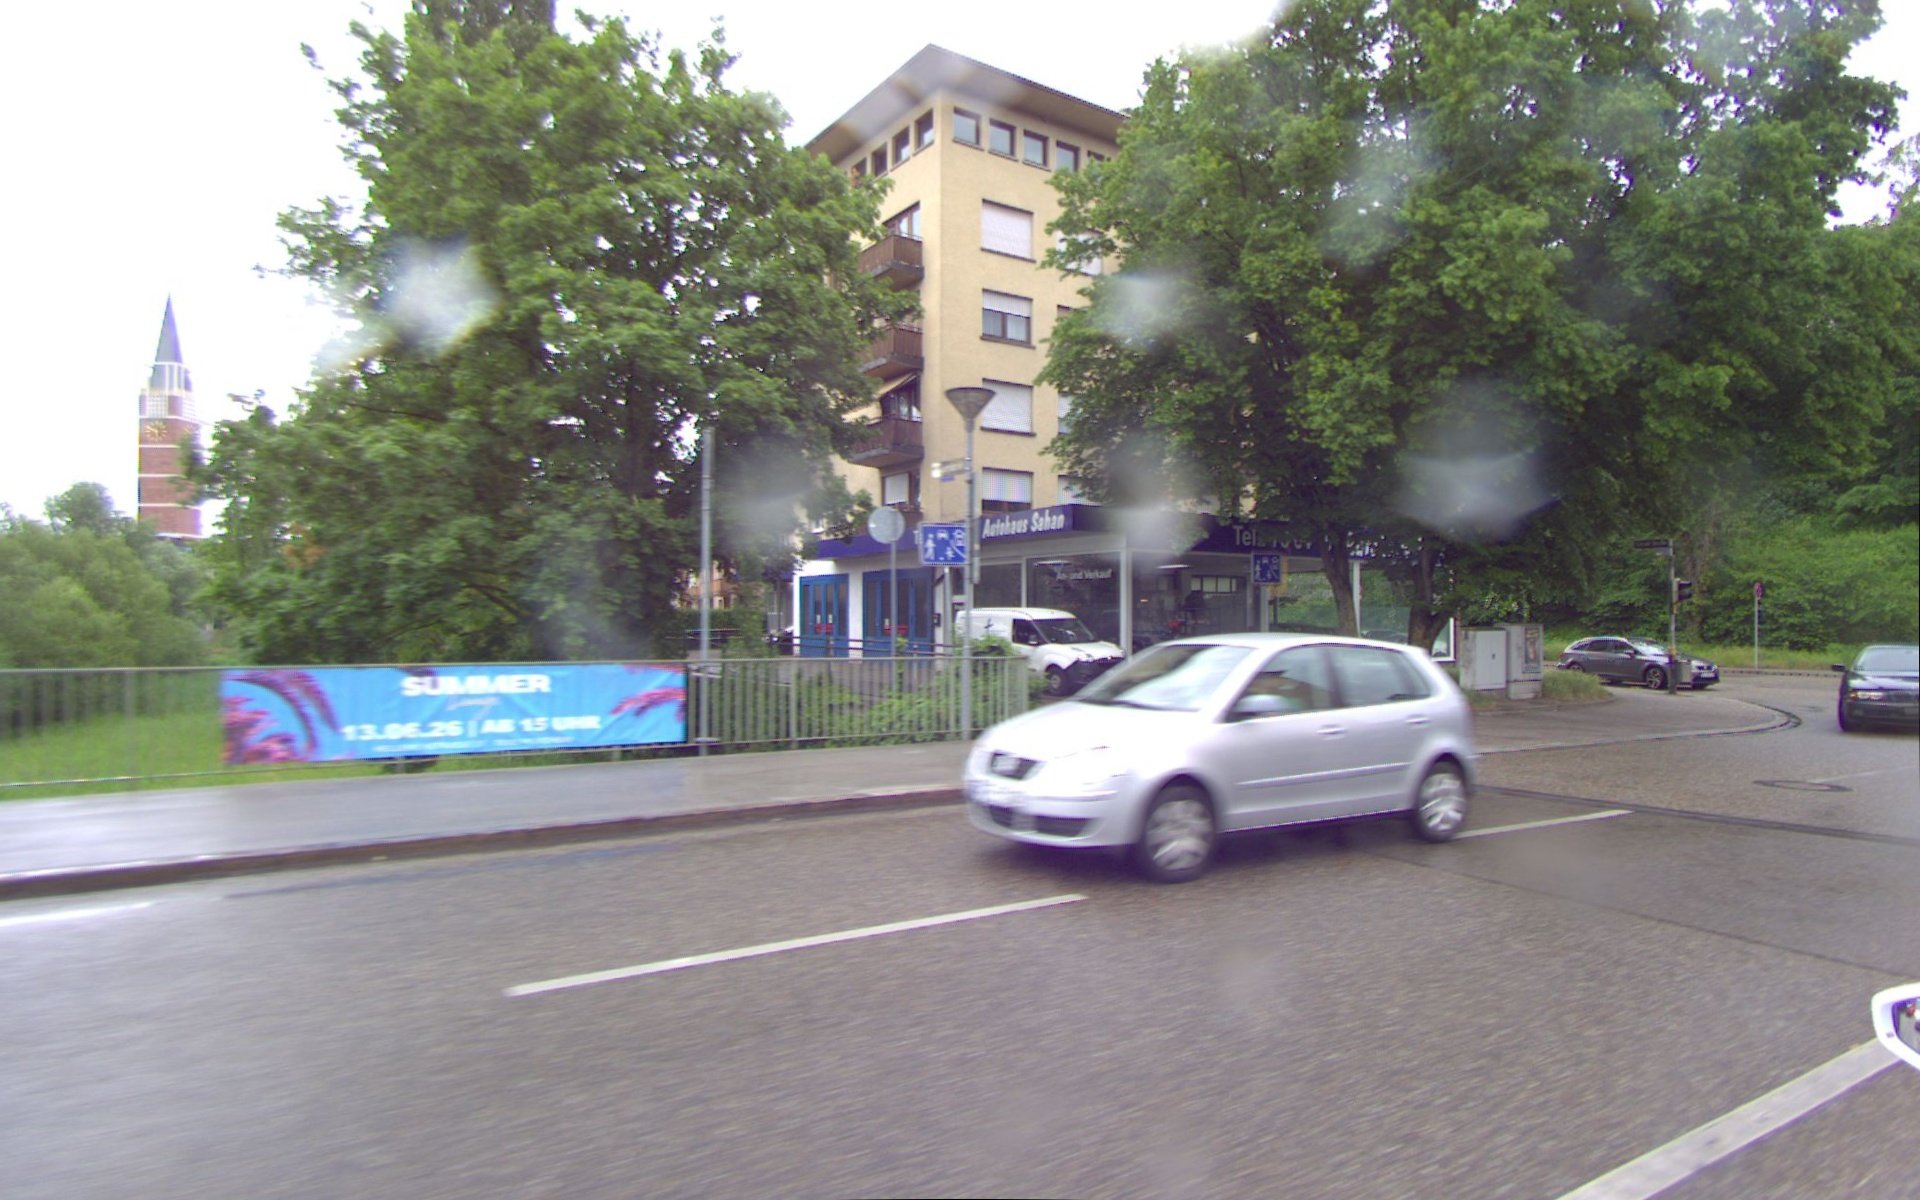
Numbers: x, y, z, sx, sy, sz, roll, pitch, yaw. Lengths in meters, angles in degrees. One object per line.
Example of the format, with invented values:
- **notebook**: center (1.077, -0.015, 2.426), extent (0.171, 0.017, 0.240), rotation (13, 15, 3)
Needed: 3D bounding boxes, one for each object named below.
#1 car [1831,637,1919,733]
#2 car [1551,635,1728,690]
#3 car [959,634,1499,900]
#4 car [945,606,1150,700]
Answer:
- **car**: center (16.396, 1.387, 17.169), extent (4.394, 1.479, 1.713), rotation (2, -3, -42)
- **car**: center (20.015, 1.801, 29.826), extent (1.787, 1.469, 4.193), rotation (0, -1, -16)
- **car**: center (1.966, 0.976, 7.123), extent (3.642, 1.438, 1.619), rotation (1, -2, -30)
- **car**: center (1.876, 1.097, 22.939), extent (1.982, 1.879, 4.705), rotation (-2, 1, -38)
